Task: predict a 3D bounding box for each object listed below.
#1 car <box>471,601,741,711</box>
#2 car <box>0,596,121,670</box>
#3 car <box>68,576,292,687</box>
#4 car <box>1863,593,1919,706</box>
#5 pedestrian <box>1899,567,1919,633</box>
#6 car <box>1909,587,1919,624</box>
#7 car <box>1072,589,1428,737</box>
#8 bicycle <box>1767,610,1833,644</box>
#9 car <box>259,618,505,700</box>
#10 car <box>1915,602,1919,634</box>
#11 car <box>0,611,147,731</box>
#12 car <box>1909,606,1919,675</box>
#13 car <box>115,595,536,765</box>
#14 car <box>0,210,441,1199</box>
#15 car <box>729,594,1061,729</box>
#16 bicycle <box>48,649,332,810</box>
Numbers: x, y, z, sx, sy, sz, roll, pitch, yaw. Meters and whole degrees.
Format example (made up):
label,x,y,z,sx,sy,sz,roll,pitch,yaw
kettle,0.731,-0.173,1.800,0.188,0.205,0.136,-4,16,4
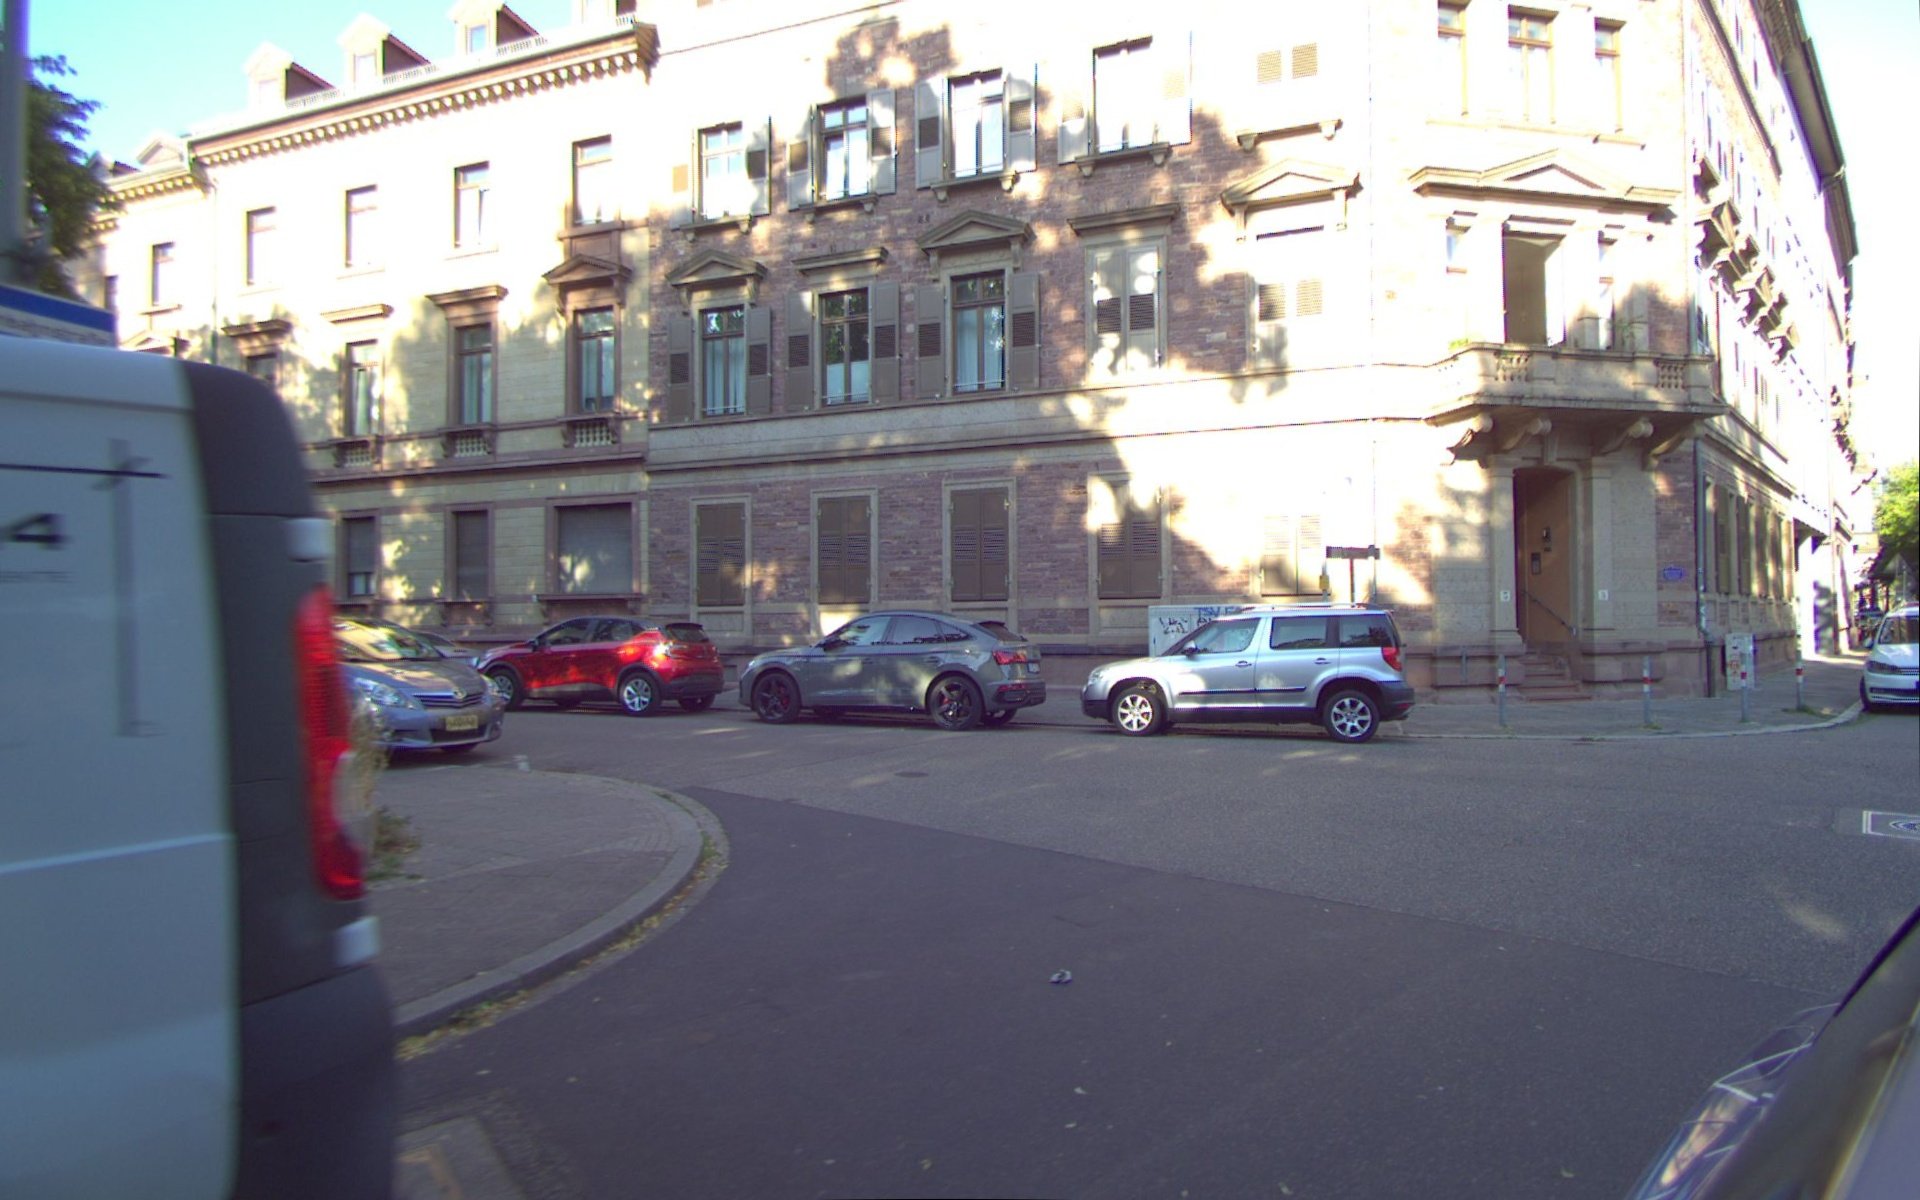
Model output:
label,x,y,z,sx,sy,sz,roll,pitch,yaw
car,-5.773,0.893,16.611,3.903,1.635,1.792,0,-3,19
car,-21.050,0.753,22.633,3.906,1.544,1.790,-1,-3,21
car,-15.964,0.653,20.745,3.906,2.100,1.790,-1,-4,21
car,16.048,0.719,16.253,4.423,1.671,1.869,0,-3,-44
pedestrian,43.837,0.013,46.541,0.917,2.985,0.689,-1,-1,42
car,58.046,0.331,60.400,1.993,2.200,4.541,0,0,42
car,3.681,0.801,13.132,4.134,1.679,1.908,-1,-4,20
bicycle,28.828,0.926,34.740,2.052,1.131,0.684,0,-1,-17
car,-10.469,1.036,18.373,3.906,1.363,1.790,-1,-3,21
car,50.646,0.912,52.119,1.993,1.587,4.541,0,0,42
car,-13.283,0.923,13.696,3.883,1.466,1.818,-1,-4,21
car,23.109,0.855,23.141,4.094,1.509,1.737,0,-3,-43
car,-7.140,0.846,11.433,4.239,1.636,1.818,-1,-4,21
car,-3.191,0.502,0.829,4.583,2.029,1.945,0,-1,-44
car,-0.935,0.868,14.778,4.488,1.746,1.818,-1,-4,21
bicycle,-6.166,0.969,8.065,2.597,1.115,0.594,-1,-1,23
